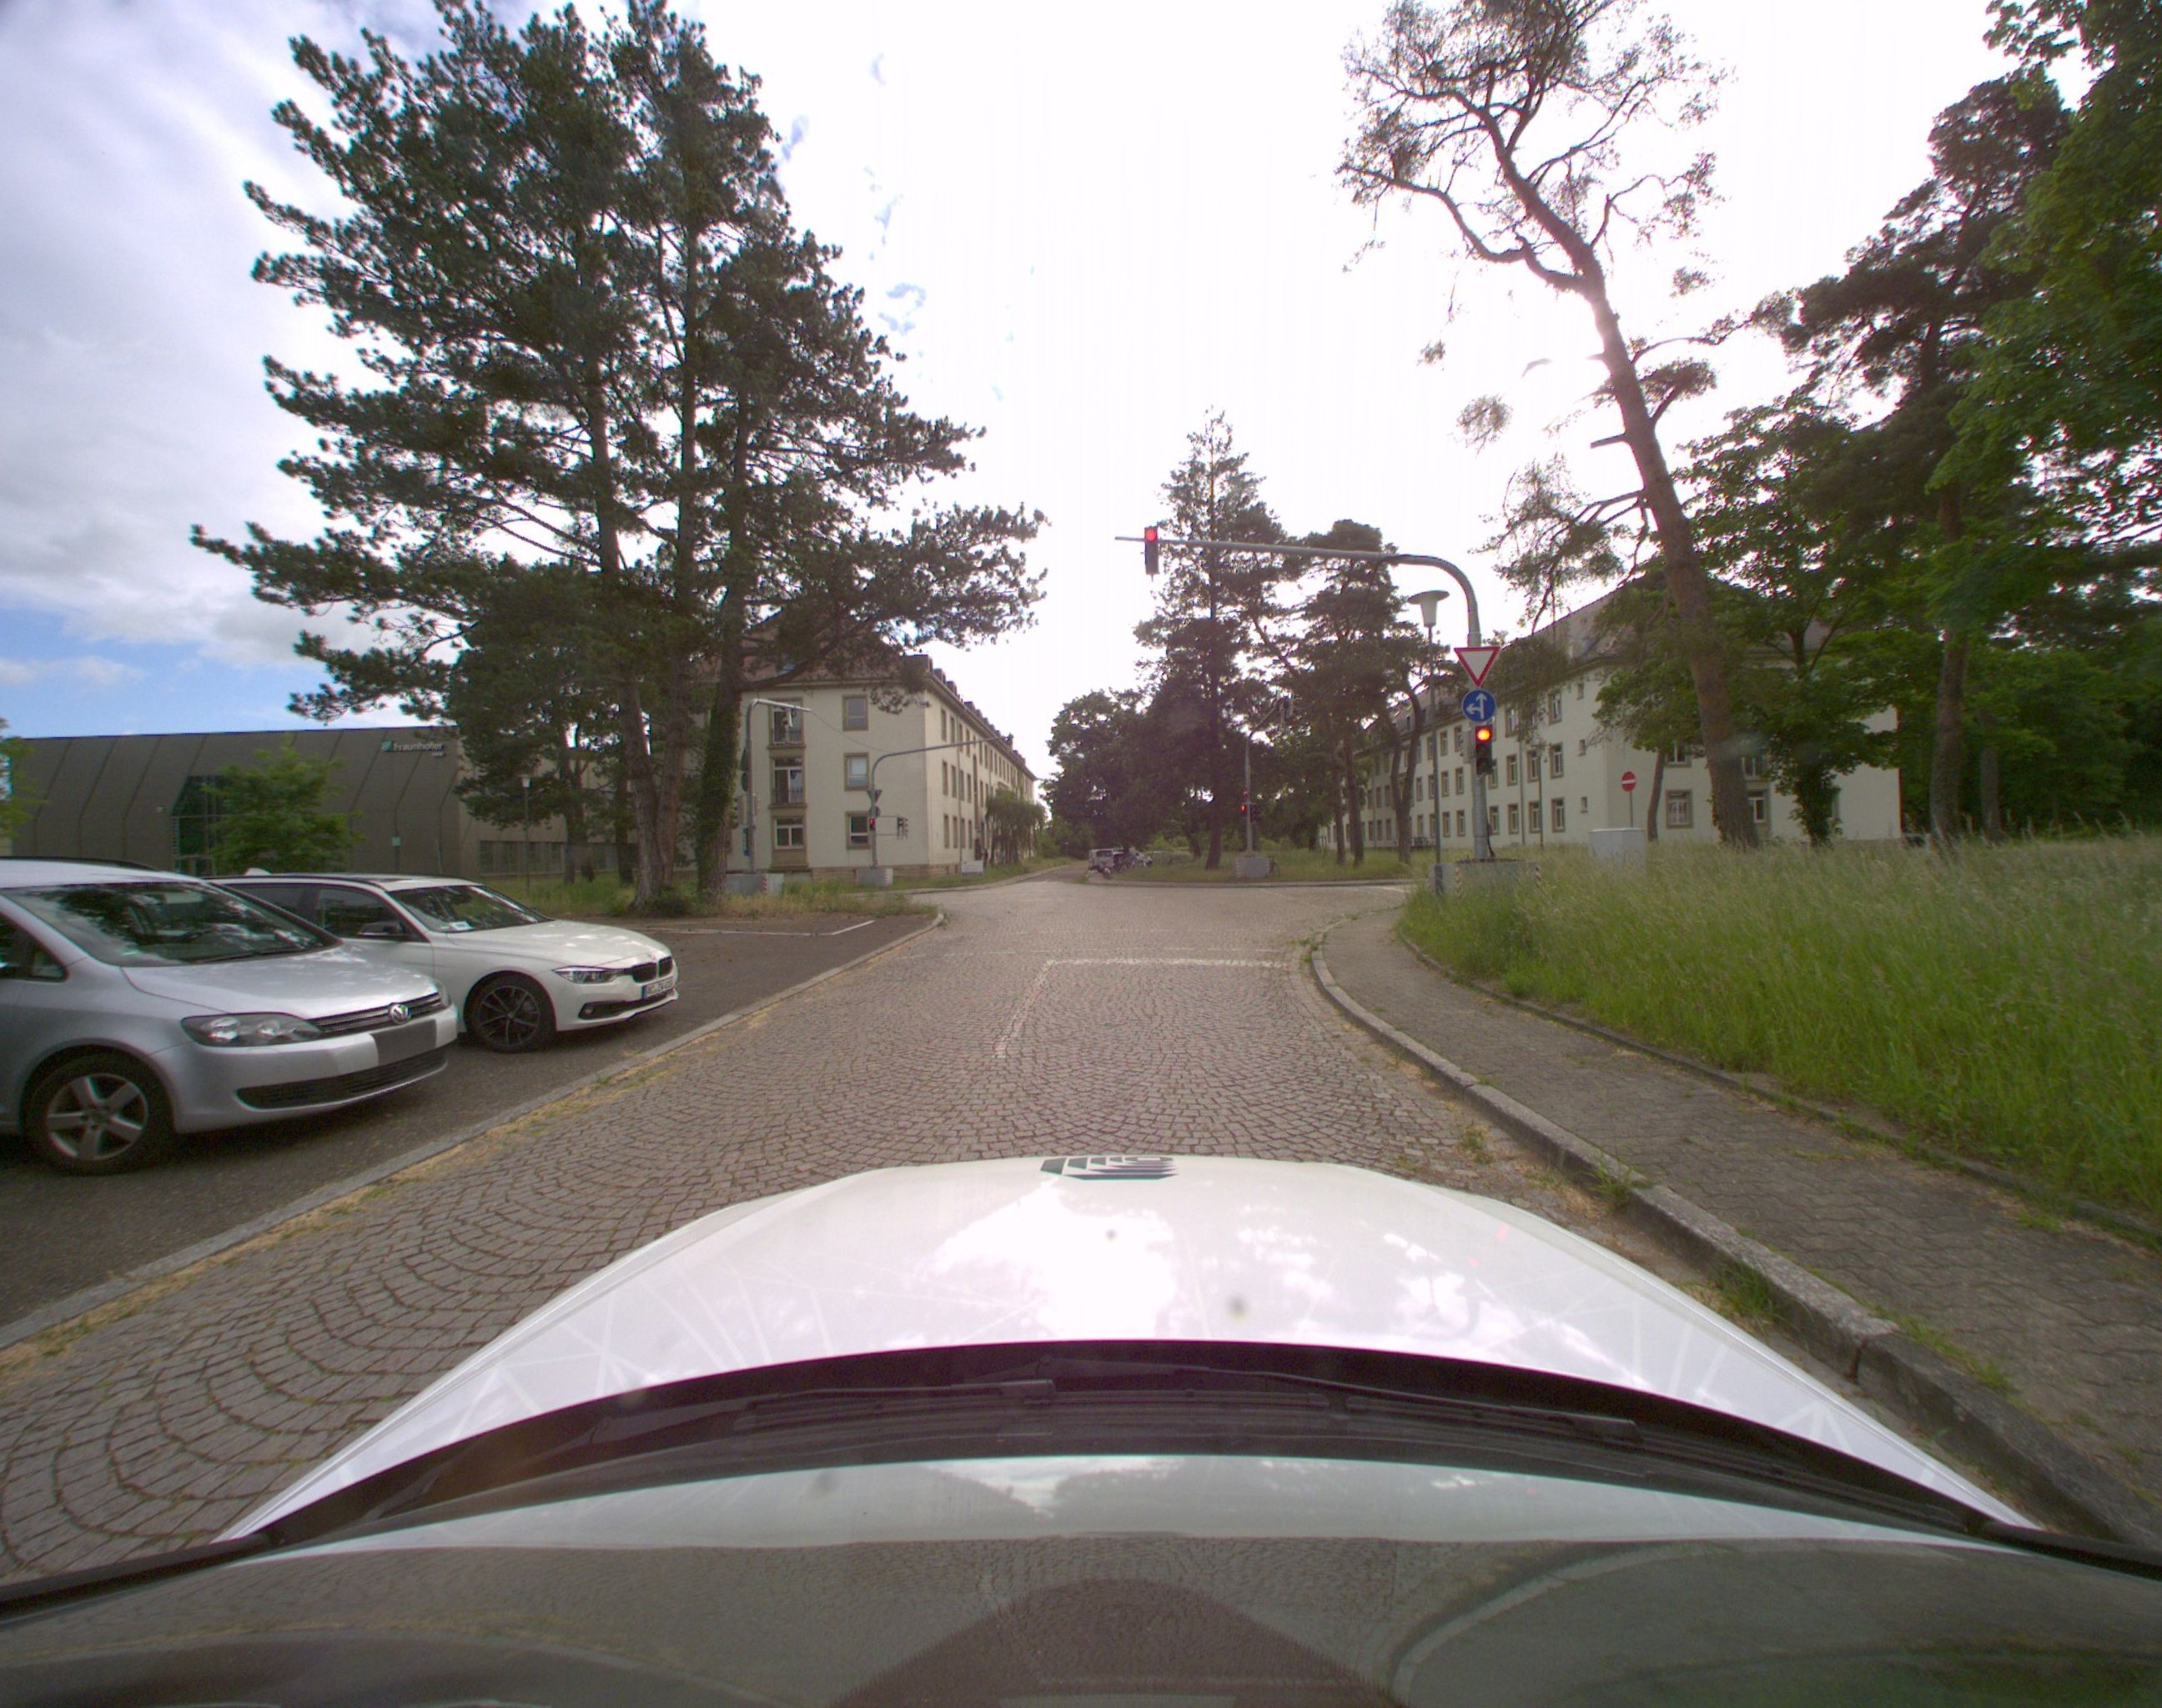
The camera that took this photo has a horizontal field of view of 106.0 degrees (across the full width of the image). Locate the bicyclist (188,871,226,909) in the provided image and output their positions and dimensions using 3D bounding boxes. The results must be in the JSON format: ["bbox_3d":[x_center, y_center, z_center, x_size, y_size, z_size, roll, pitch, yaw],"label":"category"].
[{"bbox_3d":[-33.589,1.366,31.301,0.746,1.410,0.605,-1,0,2],"label":"bicyclist"}]

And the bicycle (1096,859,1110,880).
[{"bbox_3d":[1.222,0.847,45.862,0.602,1.132,1.959,-1,0,-3],"label":"bicycle"}]

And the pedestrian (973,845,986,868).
[{"bbox_3d":[-8.120,0.201,65.059,0.778,1.837,0.734,-2,0,-29],"label":"pedestrian"}]

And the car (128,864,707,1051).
[{"bbox_3d":[-5.807,0.850,7.481,3.933,1.421,1.650,1,0,1],"label":"car"}]

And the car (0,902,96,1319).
[{"bbox_3d":[-5.597,0.864,2.232,3.735,1.428,1.582,1,0,-1],"label":"car"}]

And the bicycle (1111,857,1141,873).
[{"bbox_3d":[3.109,0.738,56.171,1.963,1.069,0.583,-1,0,-23],"label":"bicycle"}]

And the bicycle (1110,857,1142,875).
[{"bbox_3d":[2.851,0.754,51.137,1.966,1.069,0.583,-1,0,-28],"label":"bicycle"}]

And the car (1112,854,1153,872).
[{"bbox_3d":[4.000,0.687,63.722,3.000,1.268,1.533,-2,0,-4],"label":"car"}]

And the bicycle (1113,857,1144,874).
[{"bbox_3d":[3.127,0.736,53.837,1.963,1.069,0.583,-1,0,-23],"label":"bicycle"}]

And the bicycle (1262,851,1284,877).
[{"bbox_3d":[8.656,0.428,36.748,0.584,1.106,1.962,-1,0,2],"label":"bicycle"}]

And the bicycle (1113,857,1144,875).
[{"bbox_3d":[3.052,0.751,52.483,1.966,1.069,0.583,-1,0,-28],"label":"bicycle"}]

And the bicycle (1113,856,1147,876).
[{"bbox_3d":[2.940,0.705,49.017,1.952,1.132,0.587,-1,0,-5],"label":"bicycle"}]

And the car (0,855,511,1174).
[{"bbox_3d":[-6.052,0.818,4.948,3.936,1.563,1.649,1,0,-1],"label":"car"}]

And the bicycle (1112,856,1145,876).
[{"bbox_3d":[2.901,0.729,49.652,1.952,1.117,0.587,-1,0,-5],"label":"bicycle"}]

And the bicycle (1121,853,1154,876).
[{"bbox_3d":[3.469,0.635,50.469,1.952,1.384,0.587,-1,0,-5],"label":"bicycle"}]

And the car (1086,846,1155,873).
[{"bbox_3d":[3.234,0.431,67.109,5.356,1.925,2.020,-3,0,-7],"label":"car"}]

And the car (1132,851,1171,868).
[{"bbox_3d":[6.103,0.474,70.918,3.222,1.416,1.724,-2,0,-1],"label":"car"}]
